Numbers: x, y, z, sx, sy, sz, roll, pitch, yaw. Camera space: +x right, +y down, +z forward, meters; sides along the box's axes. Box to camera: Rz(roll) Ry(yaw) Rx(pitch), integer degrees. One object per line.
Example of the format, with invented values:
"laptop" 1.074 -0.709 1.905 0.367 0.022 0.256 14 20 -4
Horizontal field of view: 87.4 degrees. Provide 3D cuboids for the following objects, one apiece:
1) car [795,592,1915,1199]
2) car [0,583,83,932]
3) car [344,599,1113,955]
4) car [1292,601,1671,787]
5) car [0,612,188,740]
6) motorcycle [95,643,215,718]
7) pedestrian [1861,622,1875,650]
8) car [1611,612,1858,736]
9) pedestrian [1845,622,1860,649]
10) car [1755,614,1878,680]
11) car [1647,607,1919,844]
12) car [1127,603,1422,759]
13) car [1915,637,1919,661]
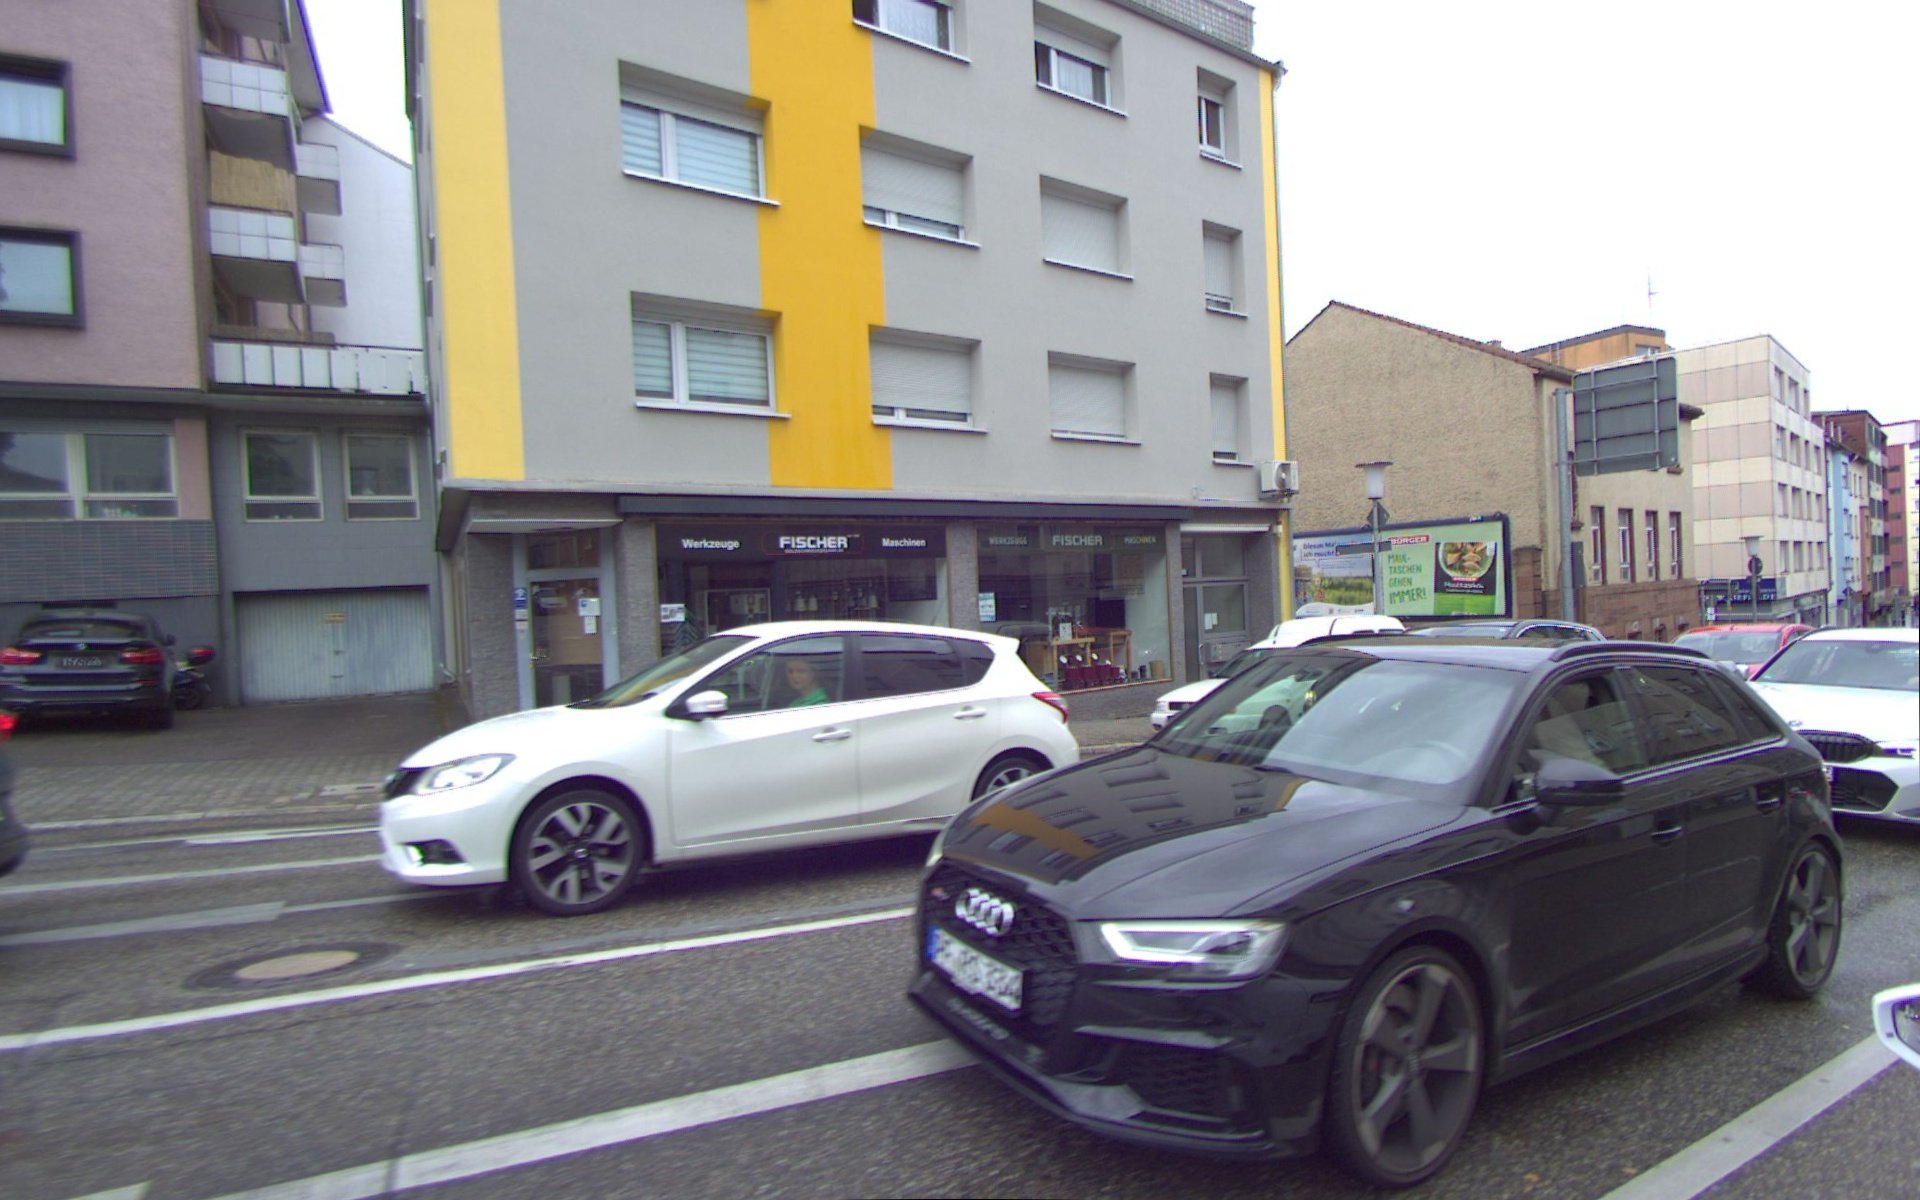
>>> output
"car" 1.722 0.769 3.911 4.328 1.433 1.798 2 -2 -31
"car" -6.146 0.700 3.500 4.325 1.497 1.811 -1 0 -29
"car" -1.310 0.814 6.388 4.325 1.563 1.799 -1 0 -29
"car" 5.738 0.940 10.907 4.297 1.652 1.796 2 -4 -34
"car" -12.333 0.985 14.372 1.846 1.516 3.953 3 -2 -40
"motorcycle" -13.792 1.360 17.257 1.509 1.105 0.480 -4 3 -34
"pedestrian" 57.796 2.280 63.923 0.664 1.675 0.602 0 3 45
"car" 11.163 1.015 14.398 4.092 1.535 1.728 2 -4 -37
"pedestrian" 57.334 2.301 64.525 0.732 1.675 0.602 0 3 45
"car" 22.940 1.257 26.857 3.892 1.631 1.644 2 -4 -37
"car" 7.708 0.884 8.381 4.516 1.541 1.795 2 -2 -35
"car" 4.374 1.054 13.805 4.018 1.853 1.717 2 -4 -34
"car" 64.780 3.255 66.841 1.697 1.607 4.118 -4 -5 44
